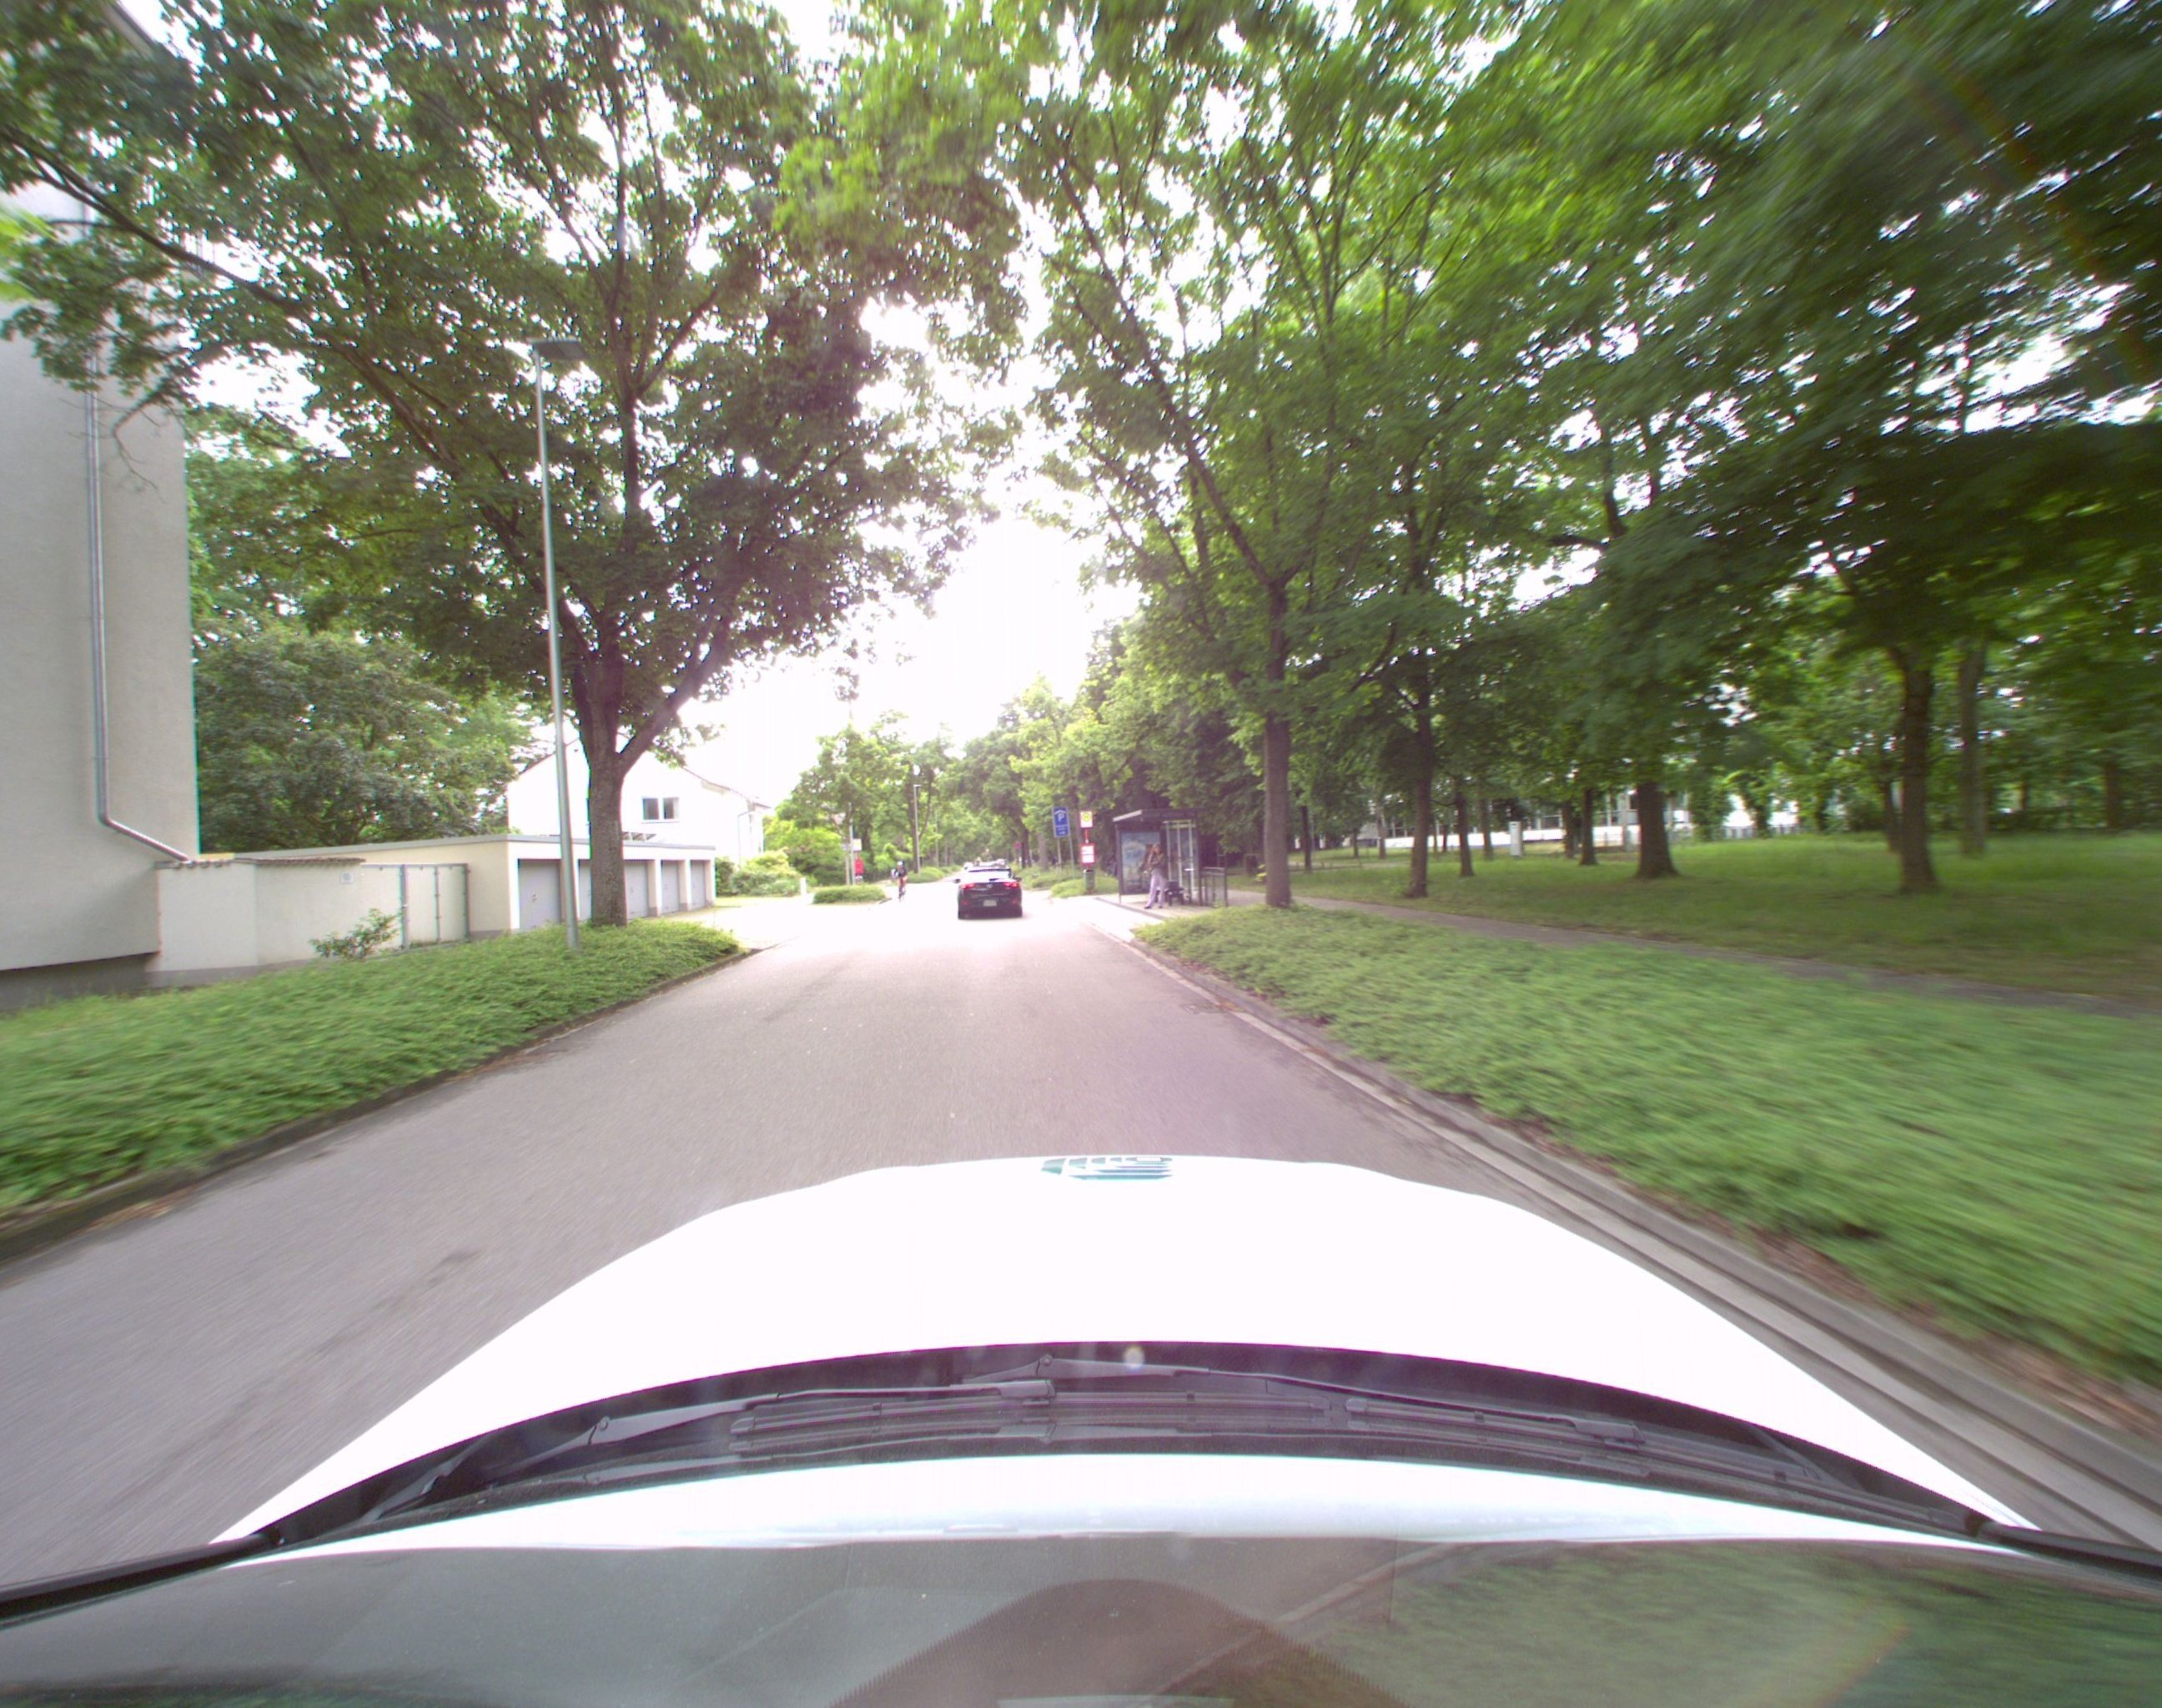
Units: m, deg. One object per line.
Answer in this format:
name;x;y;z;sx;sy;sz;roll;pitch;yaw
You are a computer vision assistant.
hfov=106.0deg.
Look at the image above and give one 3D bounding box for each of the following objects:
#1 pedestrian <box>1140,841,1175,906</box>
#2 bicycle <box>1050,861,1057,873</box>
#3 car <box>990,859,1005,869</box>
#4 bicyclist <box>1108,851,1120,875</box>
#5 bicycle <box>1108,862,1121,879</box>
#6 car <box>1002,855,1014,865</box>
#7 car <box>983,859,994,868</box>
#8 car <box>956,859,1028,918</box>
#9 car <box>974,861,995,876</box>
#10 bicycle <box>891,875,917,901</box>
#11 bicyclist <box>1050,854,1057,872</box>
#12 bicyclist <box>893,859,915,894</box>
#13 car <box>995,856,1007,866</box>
pedestrian;1.932;0.485;20.652;0.653;1.583;0.696;-3;0;-7
bicycle;-2.372;1.171;71.518;0.490;0.975;1.943;-4;0;0
car;-12.655;1.522;123.358;1.899;1.486;3.987;-3;0;-9
bicyclist;1.993;0.535;49.112;0.595;1.409;0.758;-4;0;0
bicycle;2.016;0.978;49.079;0.605;0.975;1.943;-4;0;0
car;-16.605;1.360;185.066;1.996;2.013;3.981;-4;0;-14
car;-18.031;1.806;157.966;1.992;1.486;3.990;-4;0;-7
car;-2.625;0.921;23.511;1.845;1.462;3.817;-2;0;-8
car;-10.274;1.559;86.357;1.865;1.462;4.102;-3;0;-10
bicycle;-7.902;1.497;36.448;0.793;1.025;2.558;-3;0;-6
bicyclist;-2.397;0.812;71.592;0.533;1.549;0.758;-4;0;0
bicyclist;-7.920;0.989;36.415;0.783;1.469;0.935;-3;0;-7
car;-17.624;1.478;179.840;1.997;2.013;3.980;-4;0;-14
